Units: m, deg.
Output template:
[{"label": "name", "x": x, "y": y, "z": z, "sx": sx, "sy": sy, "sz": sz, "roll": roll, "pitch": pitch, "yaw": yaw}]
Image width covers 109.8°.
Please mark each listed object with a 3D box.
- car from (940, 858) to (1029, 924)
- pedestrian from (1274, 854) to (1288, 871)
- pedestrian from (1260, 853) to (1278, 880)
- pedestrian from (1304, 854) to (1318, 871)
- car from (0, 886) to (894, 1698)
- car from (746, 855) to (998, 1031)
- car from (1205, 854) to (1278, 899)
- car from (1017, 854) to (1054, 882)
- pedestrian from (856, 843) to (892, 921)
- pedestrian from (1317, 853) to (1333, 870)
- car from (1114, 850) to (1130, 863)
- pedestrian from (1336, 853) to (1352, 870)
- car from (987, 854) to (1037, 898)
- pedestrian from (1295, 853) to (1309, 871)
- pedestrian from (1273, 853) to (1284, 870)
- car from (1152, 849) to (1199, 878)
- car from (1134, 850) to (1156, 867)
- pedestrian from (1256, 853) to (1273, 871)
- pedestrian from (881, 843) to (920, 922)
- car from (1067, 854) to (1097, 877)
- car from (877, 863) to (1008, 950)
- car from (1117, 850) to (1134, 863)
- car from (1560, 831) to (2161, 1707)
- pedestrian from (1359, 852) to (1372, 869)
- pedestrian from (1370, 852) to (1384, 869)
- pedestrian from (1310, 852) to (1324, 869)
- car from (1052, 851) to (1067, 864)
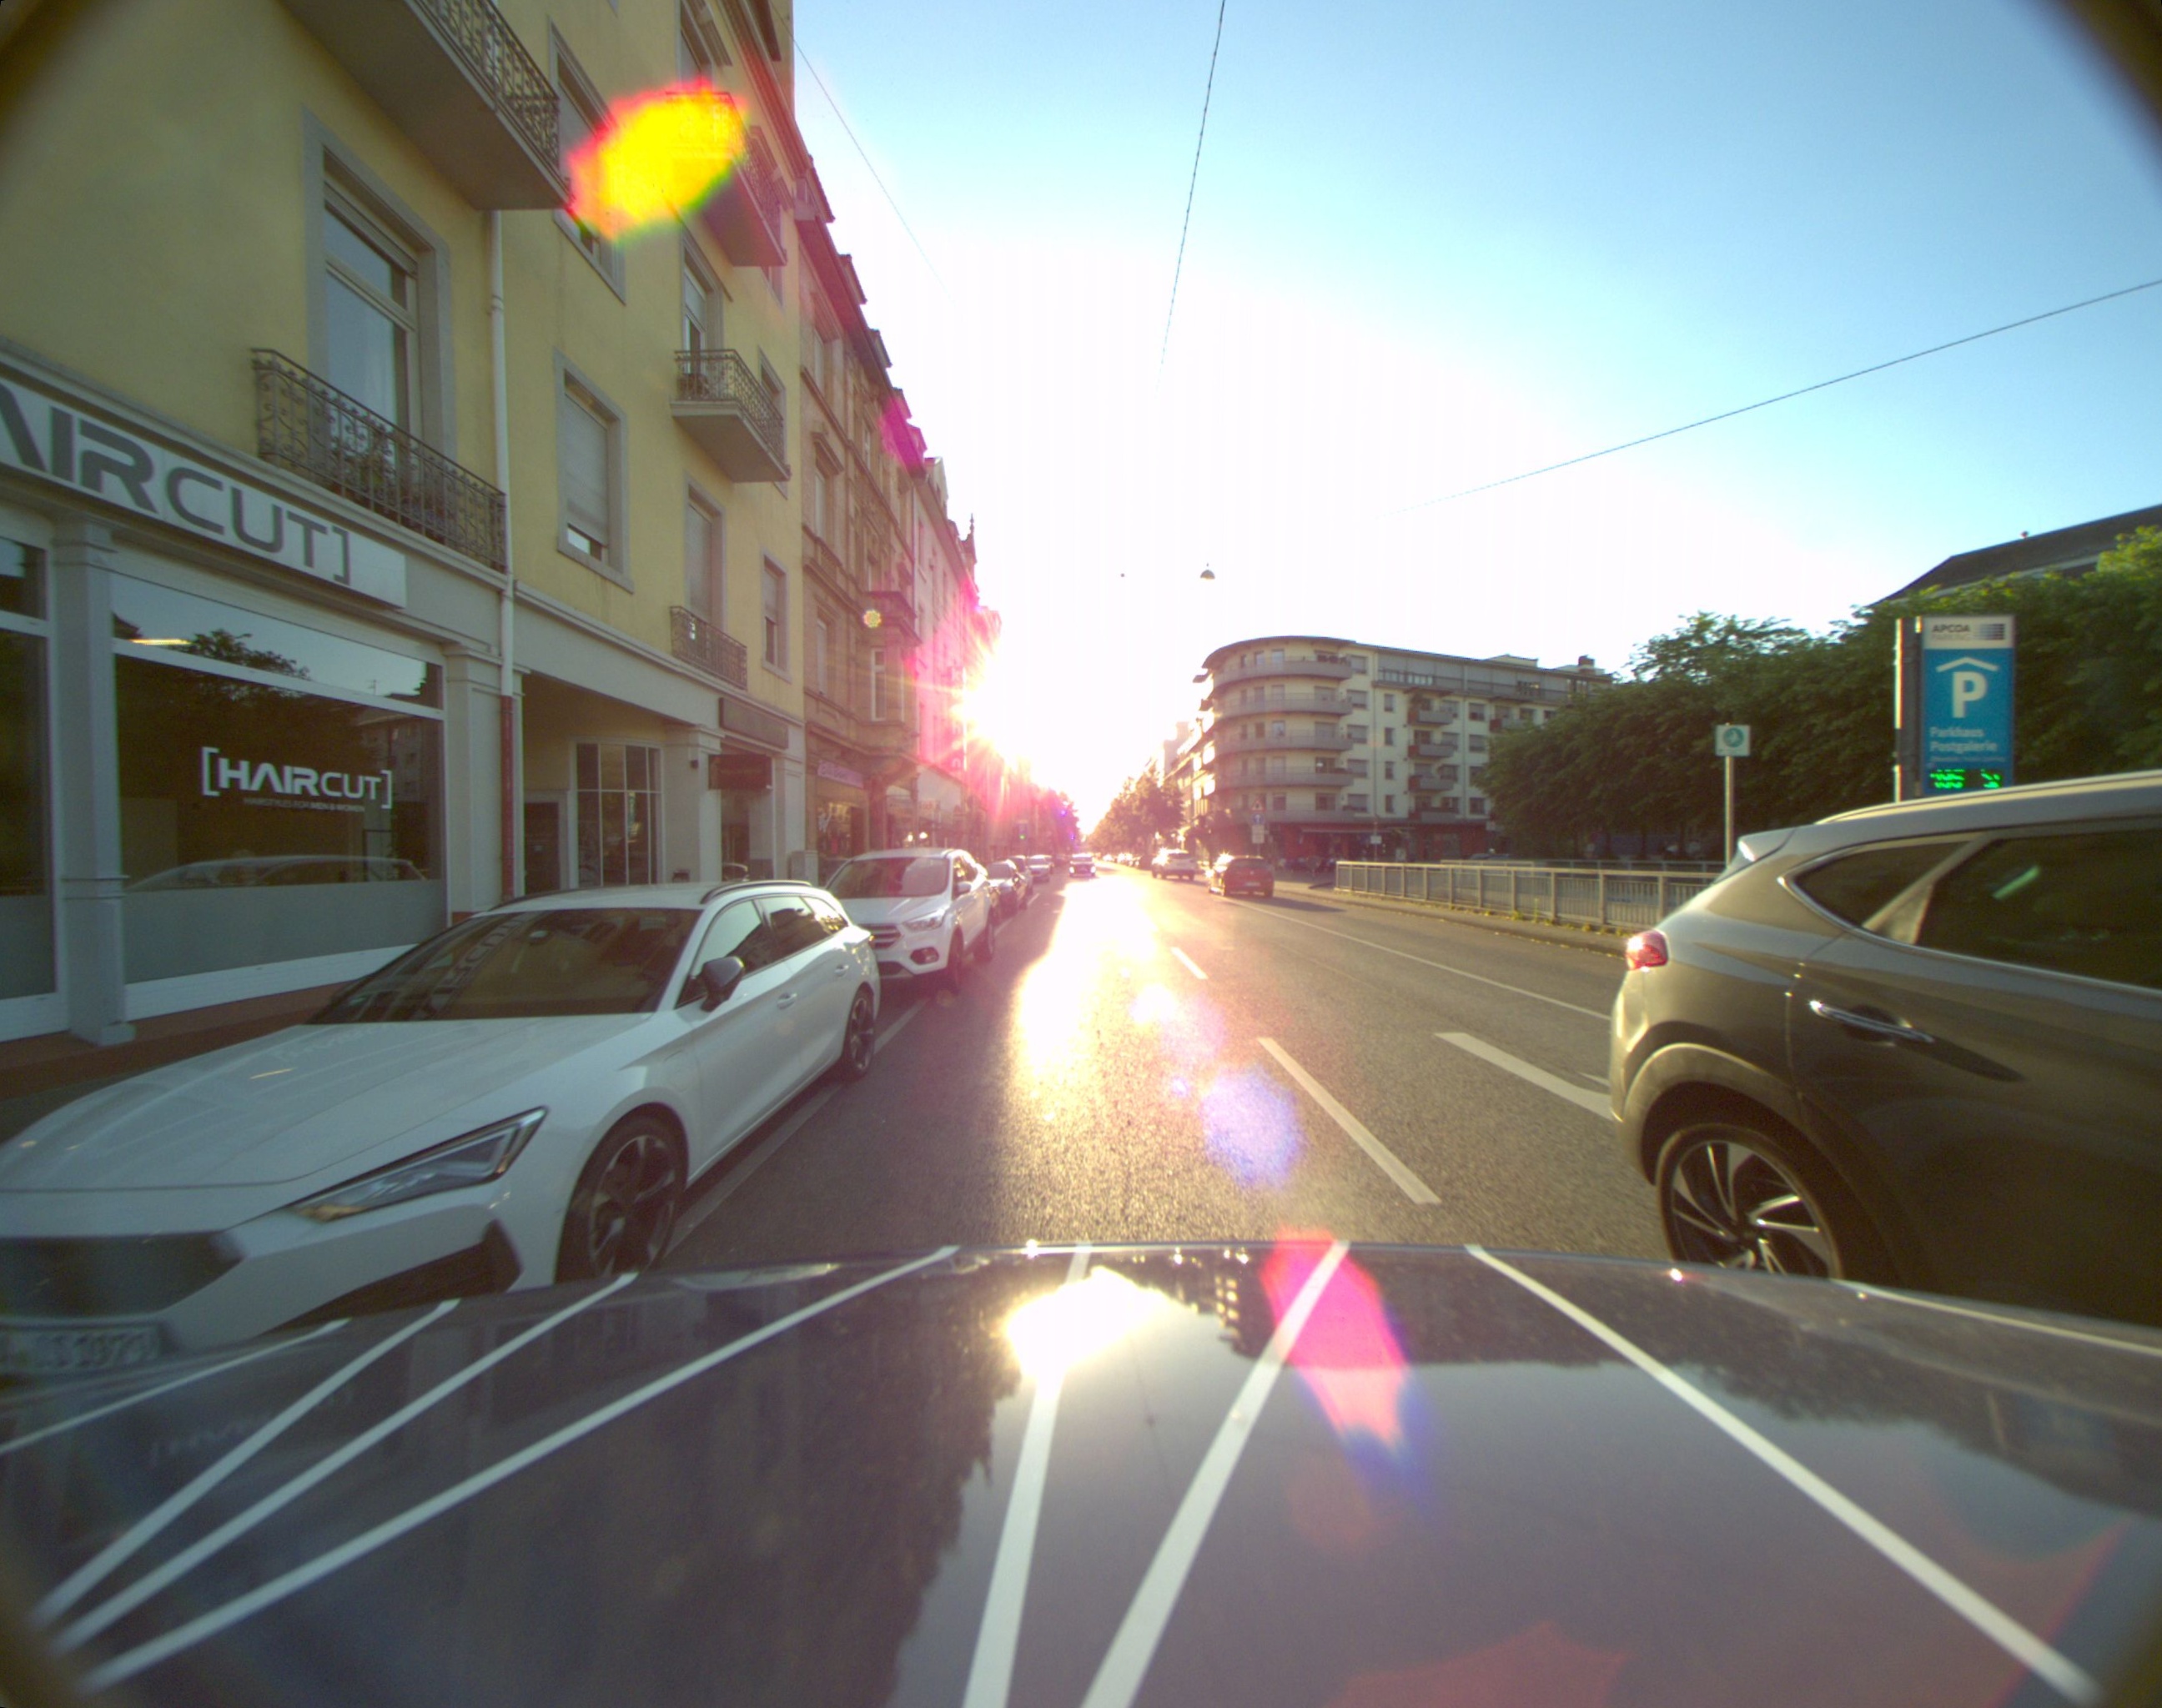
[{"label": "car", "x": -2.512, "y": 0.911, "z": 20.792, "sx": 1.908, "sy": 1.531, "sz": 4.449, "roll": -1, "pitch": 0, "yaw": -1}, {"label": "pedestrian", "x": 14.990, "y": 0.634, "z": 56.993, "sx": 0.887, "sy": 1.185, "sz": 0.733, "roll": -1, "pitch": 1, "yaw": 10}, {"label": "pedestrian", "x": 10.450, "y": 0.695, "z": 42.187, "sx": 0.678, "sy": 1.509, "sz": 0.676, "roll": -2, "pitch": 1, "yaw": -42}, {"label": "pedestrian", "x": 17.572, "y": 0.649, "z": 58.130, "sx": 0.732, "sy": 1.314, "sz": 0.888, "roll": -1, "pitch": 1, "yaw": -2}, {"label": "car", "x": -2.447, "y": 1.013, "z": 3.864, "sx": 1.738, "sy": 1.448, "sz": 4.610, "roll": -1, "pitch": 0, "yaw": 1}, {"label": "car", "x": -2.289, "y": 0.881, "z": 9.669, "sx": 1.877, "sy": 1.664, "sz": 4.430, "roll": -1, "pitch": 0, "yaw": 1}, {"label": "car", "x": 5.779, "y": 0.781, "z": 27.867, "sx": 1.790, "sy": 1.458, "sz": 3.956, "roll": 0, "pitch": 1, "yaw": -1}, {"label": "car", "x": -2.544, "y": 0.765, "z": 43.573, "sx": 1.908, "sy": 1.421, "sz": 4.449, "roll": -1, "pitch": 0, "yaw": -1}, {"label": "pedestrian", "x": -5.488, "y": 0.728, "z": 20.176, "sx": 0.673, "sy": 2.002, "sz": 0.851, "roll": -1, "pitch": 1, "yaw": 1}, {"label": "pedestrian", "x": 18.695, "y": 0.589, "z": 58.231, "sx": 0.733, "sy": 1.314, "sz": 0.888, "roll": -2, "pitch": 1, "yaw": -13}, {"label": "car", "x": 5.972, "y": 0.294, "z": 110.426, "sx": 1.999, "sy": 1.805, "sz": 3.999, "roll": -1, "pitch": 0, "yaw": -1}, {"label": "pedestrian", "x": 20.515, "y": 0.561, "z": 59.292, "sx": 0.733, "sy": 1.314, "sz": 0.887, "roll": -2, "pitch": 1, "yaw": -14}, {"label": "car", "x": -2.691, "y": 0.832, "z": 30.507, "sx": 1.645, "sy": 1.574, "sz": 4.201, "roll": -1, "pitch": 0, "yaw": -1}, {"label": "pedestrian", "x": 16.882, "y": 0.625, "z": 58.062, "sx": 0.732, "sy": 1.314, "sz": 0.889, "roll": -1, "pitch": 1, "yaw": -1}, {"label": "pedestrian", "x": 15.089, "y": 0.581, "z": 58.062, "sx": 0.677, "sy": 1.314, "sz": 0.611, "roll": -1, "pitch": 1, "yaw": -1}, {"label": "car", "x": 5.478, "y": 0.538, "z": 44.552, "sx": 1.878, "sy": 1.621, "sz": 4.177, "roll": 1, "pitch": 0, "yaw": -5}, {"label": "car", "x": 7.005, "y": 0.485, "z": 83.437, "sx": 1.999, "sy": 1.805, "sz": 3.999, "roll": -1, "pitch": 0, "yaw": -1}, {"label": "pedestrian", "x": 13.750, "y": 0.621, "z": 56.919, "sx": 0.890, "sy": 1.314, "sz": 0.731, "roll": -2, "pitch": 1, "yaw": -26}, {"label": "pedestrian", "x": -4.736, "y": 0.735, "z": 20.002, "sx": 0.763, "sy": 2.002, "sz": 0.851, "roll": -1, "pitch": 1, "yaw": 1}, {"label": "car", "x": 0.008, "y": 0.771, "z": 51.471, "sx": 1.908, "sy": 1.438, "sz": 4.449, "roll": -1, "pitch": 0, "yaw": -1}, {"label": "car", "x": -2.663, "y": 0.955, "z": 15.632, "sx": 1.908, "sy": 1.421, "sz": 4.449, "roll": -1, "pitch": 0, "yaw": -1}, {"label": "car", "x": 6.196, "y": 0.315, "z": 105.654, "sx": 1.999, "sy": 1.805, "sz": 3.999, "roll": -1, "pitch": 0, "yaw": -1}, {"label": "car", "x": 2.793, "y": 0.798, "z": 0.687, "sx": 1.877, "sy": 1.679, "sz": 4.449, "roll": 0, "pitch": 0, "yaw": -1}, {"label": "pedestrian", "x": 22.945, "y": 0.508, "z": 61.237, "sx": 0.731, "sy": 1.314, "sz": 0.890, "roll": -1, "pitch": 1, "yaw": 39}, {"label": "pedestrian", "x": 23.649, "y": 0.500, "z": 60.679, "sx": 0.731, "sy": 1.314, "sz": 0.890, "roll": -1, "pitch": 1, "yaw": 39}, {"label": "pedestrian", "x": 18.480, "y": 0.496, "z": 59.521, "sx": 0.688, "sy": 1.314, "sz": 0.819, "roll": -2, "pitch": 1, "yaw": -23}, {"label": "car", "x": -3.130, "y": 0.489, "z": 109.185, "sx": 1.999, "sy": 1.806, "sz": 3.997, "roll": -1, "pitch": 2, "yaw": -3}]
